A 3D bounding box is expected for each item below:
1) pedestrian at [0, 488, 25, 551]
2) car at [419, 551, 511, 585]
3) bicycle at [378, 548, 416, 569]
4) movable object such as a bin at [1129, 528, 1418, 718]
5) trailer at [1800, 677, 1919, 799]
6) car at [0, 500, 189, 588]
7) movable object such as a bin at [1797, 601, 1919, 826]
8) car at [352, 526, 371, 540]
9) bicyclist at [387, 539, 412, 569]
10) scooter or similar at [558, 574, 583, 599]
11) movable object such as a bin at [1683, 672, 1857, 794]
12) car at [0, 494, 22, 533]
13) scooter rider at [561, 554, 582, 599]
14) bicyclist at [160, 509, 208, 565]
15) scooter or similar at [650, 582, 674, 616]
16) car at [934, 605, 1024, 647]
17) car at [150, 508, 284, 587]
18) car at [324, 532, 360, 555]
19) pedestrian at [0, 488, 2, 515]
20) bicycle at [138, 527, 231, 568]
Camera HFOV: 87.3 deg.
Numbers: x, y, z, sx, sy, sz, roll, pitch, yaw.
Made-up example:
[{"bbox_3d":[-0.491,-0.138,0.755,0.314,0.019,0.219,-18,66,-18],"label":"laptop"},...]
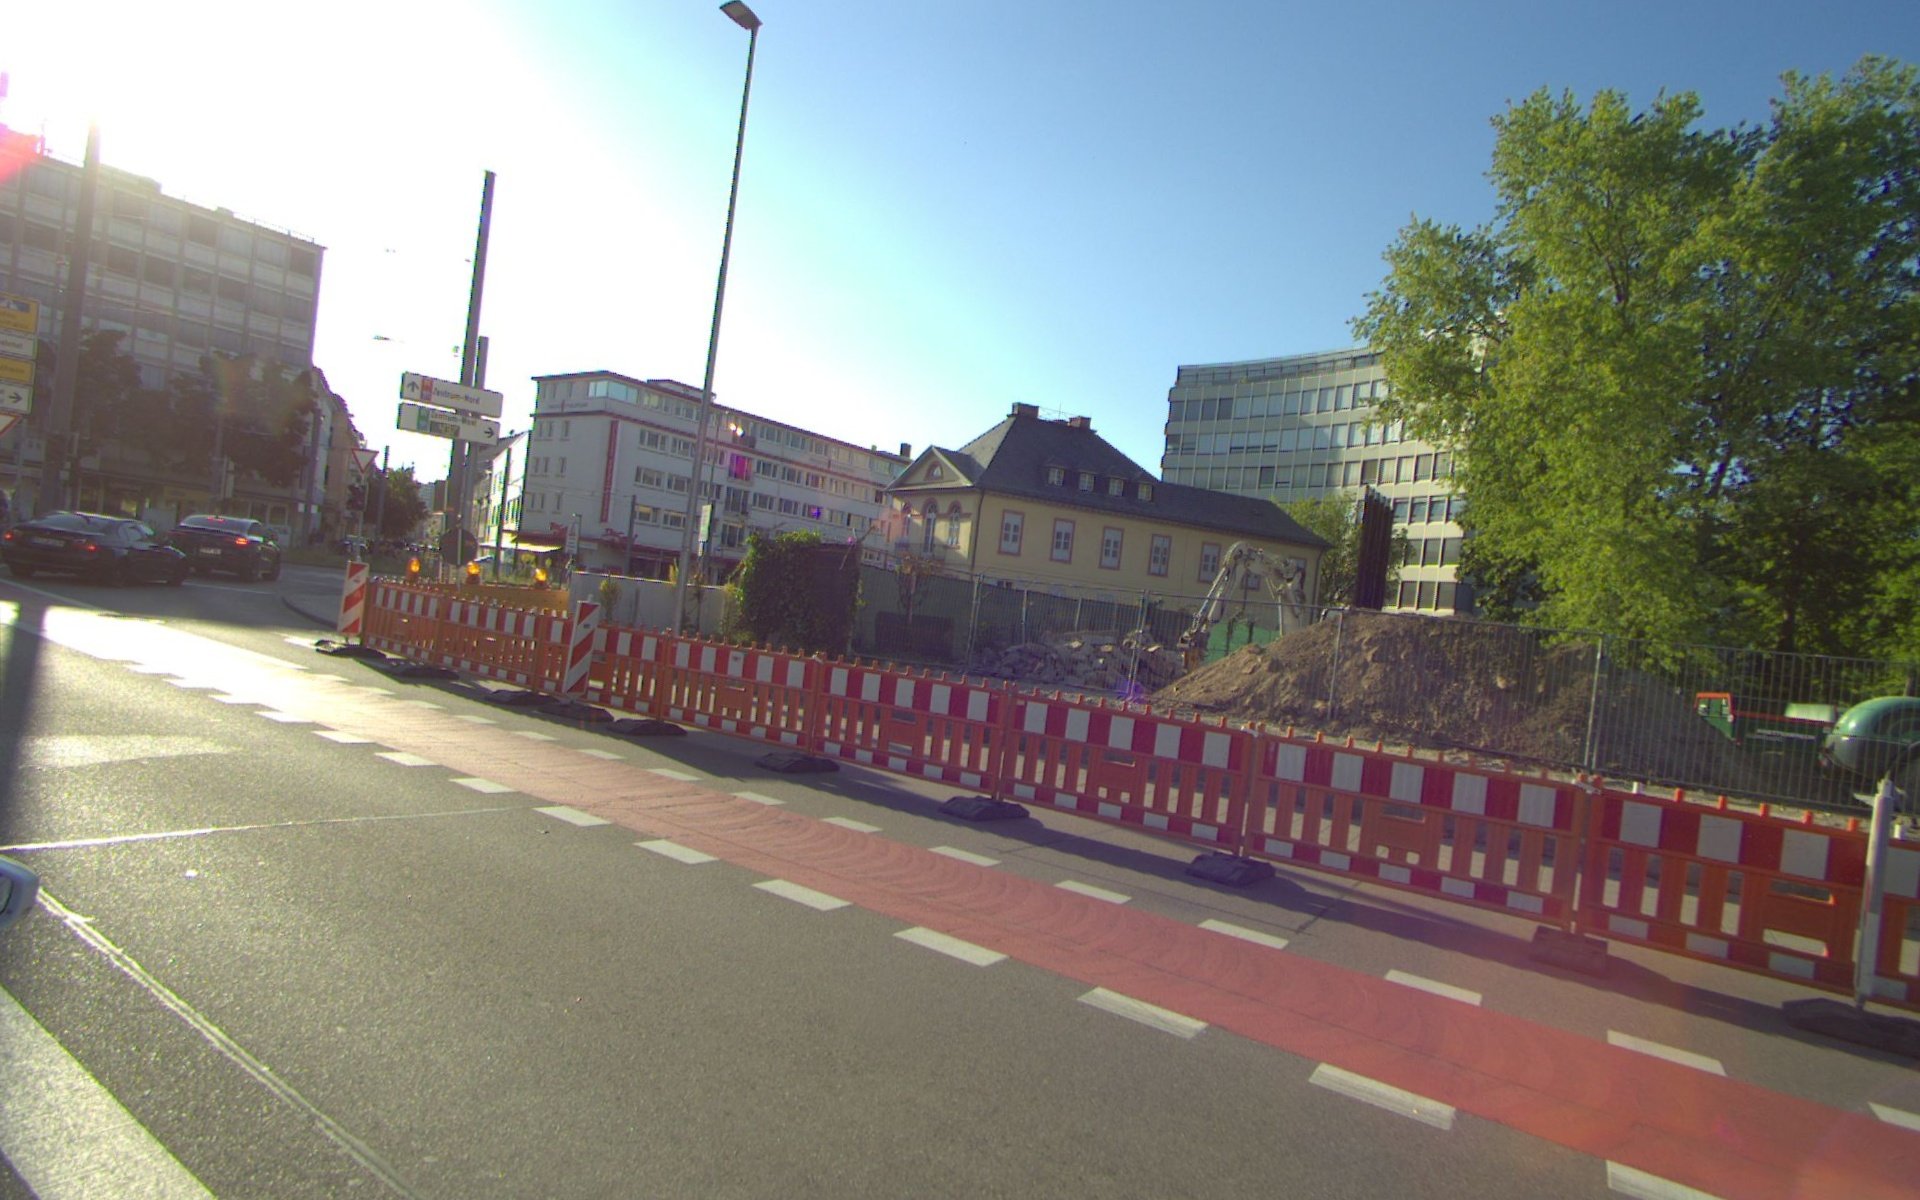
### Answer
[{"bbox_3d":[-25.452,-2.163,26.548,0.644,1.617,0.879,7,1,30],"label":"pedestrian"},{"bbox_3d":[-31.764,-2.046,64.601,4.895,1.497,1.980,8,-1,-37],"label":"car"},{"bbox_3d":[-35.924,-2.641,64.227,0.666,1.112,1.976,7,0,28],"label":"bicycle"},{"bbox_3d":[7.302,0.584,23.247,6.019,3.601,2.837,7,0,-32],"label":"movable object such as a bin"},{"bbox_3d":[20.386,2.917,21.954,2.188,2.349,5.039,1,-3,29],"label":"trailer"},{"bbox_3d":[-17.798,-1.095,20.726,1.724,1.443,3.984,7,-1,-19],"label":"car"},{"bbox_3d":[14.030,1.701,12.648,4.861,2.737,2.278,7,0,32],"label":"movable object such as a bin"},{"bbox_3d":[-76.247,-8.519,128.209,1.978,1.415,3.968,7,0,-30],"label":"car"},{"bbox_3d":[-35.848,-2.914,64.365,0.666,1.760,1.042,7,0,28],"label":"bicyclist"},{"bbox_3d":[-17.313,-0.588,44.718,0.485,1.046,1.386,7,0,-2],"label":"scooter or similar"},{"bbox_3d":[18.278,2.864,22.988,2.188,2.349,5.039,1,-3,29],"label":"movable object such as a bin"},{"bbox_3d":[-43.495,-4.008,43.301,1.971,1.616,4.327,7,0,40],"label":"car"},{"bbox_3d":[-17.263,-1.032,44.703,0.492,1.943,0.533,7,1,-3],"label":"scooter rider"},{"bbox_3d":[-25.319,-2.050,32.841,0.680,1.682,0.959,7,0,36],"label":"bicyclist"},{"bbox_3d":[-12.253,-0.046,41.317,0.563,1.274,1.334,6,0,-27],"label":"scooter or similar"},{"bbox_3d":[0.966,1.345,52.279,4.101,1.593,1.993,7,0,-18],"label":"car"},{"bbox_3d":[-20.231,-1.411,27.597,1.976,1.713,3.976,9,-1,-24],"label":"car"},{"bbox_3d":[-47.412,-4.344,77.164,1.982,1.415,3.961,7,0,-36],"label":"car"},{"bbox_3d":[-26.171,-2.230,26.680,0.644,1.617,0.879,7,1,30],"label":"pedestrian"},{"bbox_3d":[-25.329,-1.707,32.899,0.671,1.039,2.227,7,-1,35],"label":"bicycle"}]
